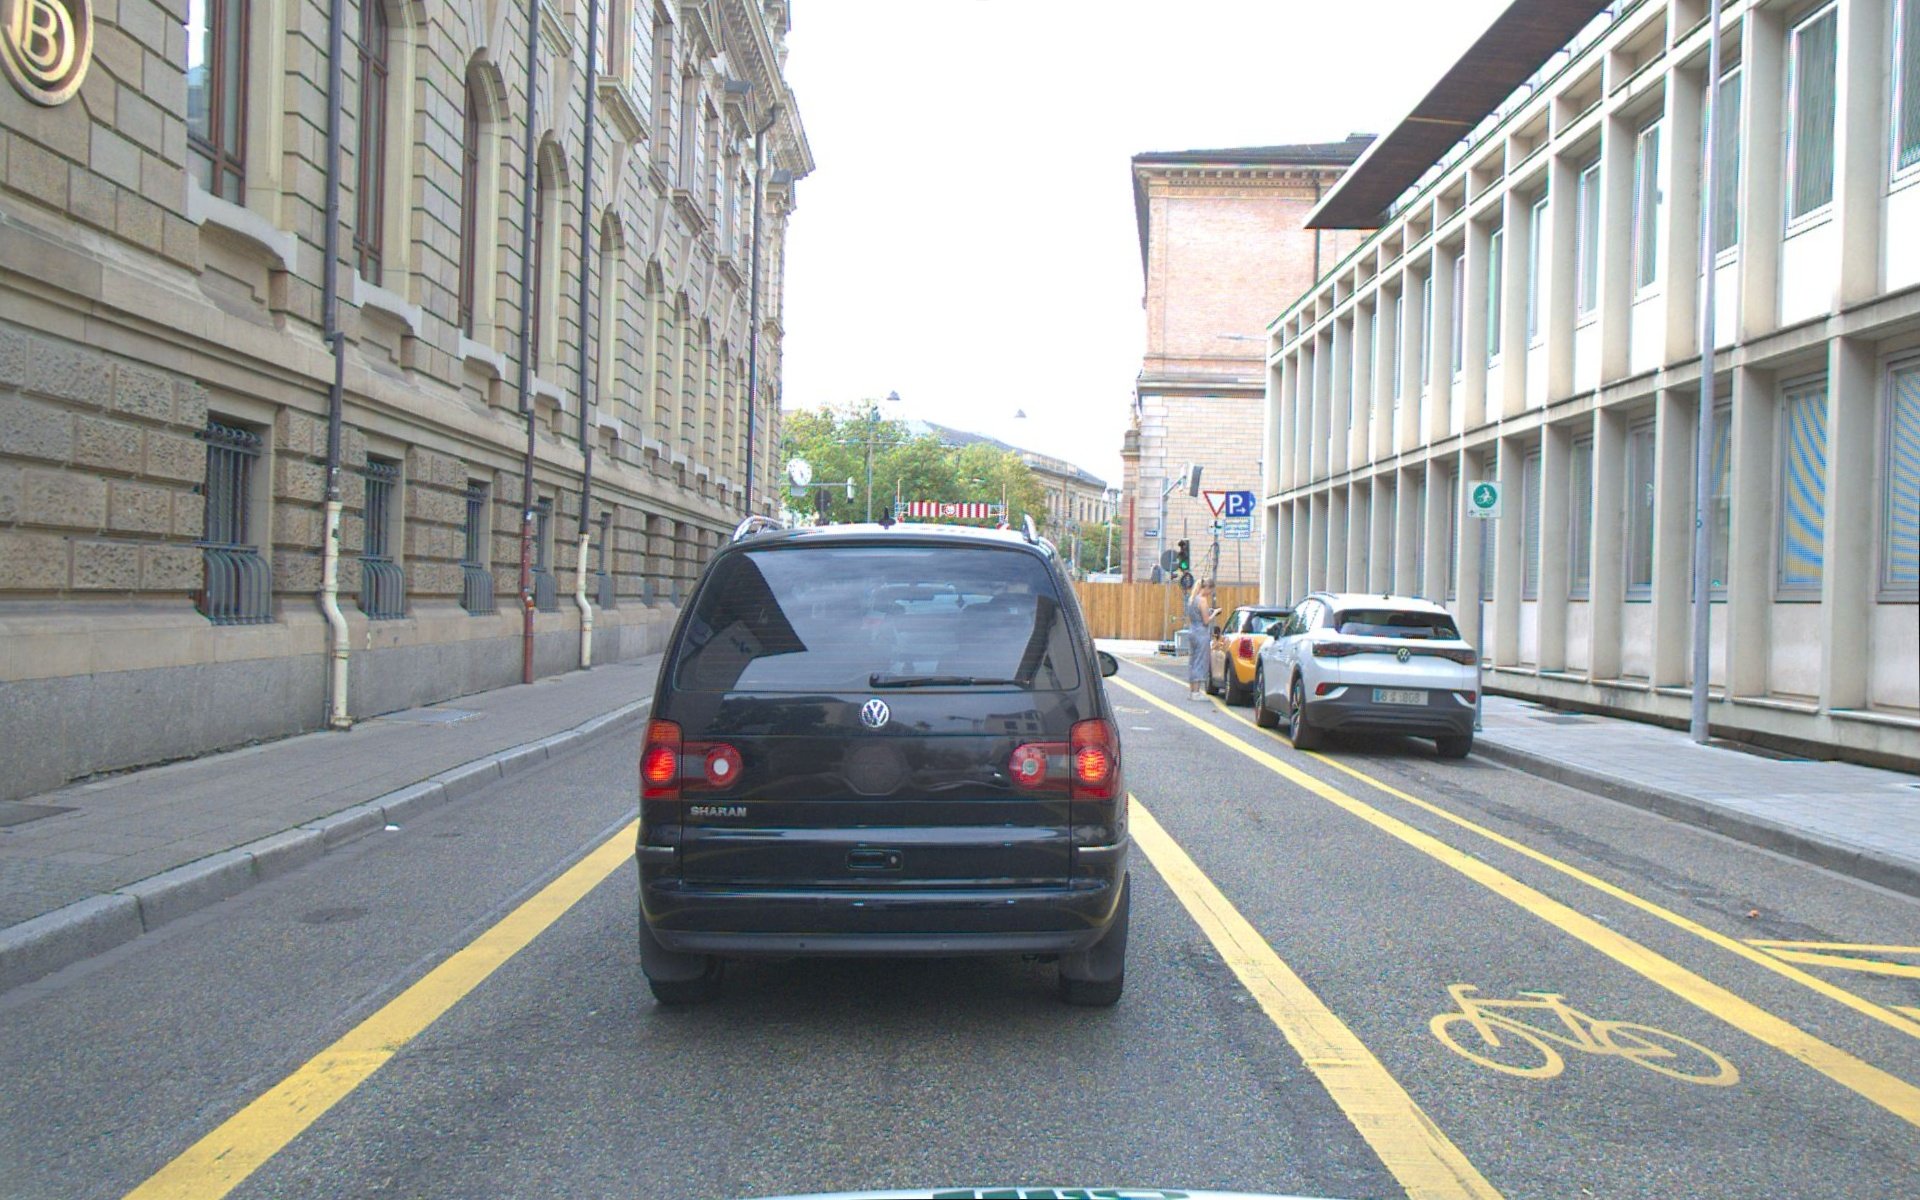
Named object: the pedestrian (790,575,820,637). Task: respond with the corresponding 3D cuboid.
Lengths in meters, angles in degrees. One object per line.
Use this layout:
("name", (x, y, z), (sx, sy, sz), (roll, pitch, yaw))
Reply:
("pedestrian", (-4.771, 0.191, 50.952), (0.776, 1.851, 1.048), (3, -1, -1))

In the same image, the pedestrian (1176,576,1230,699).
("pedestrian", (3.629, 0.554, 24.734), (0.683, 1.794, 0.706), (1, -1, 1))

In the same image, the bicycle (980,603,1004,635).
("bicycle", (1.072, 0.627, 55.646), (0.720, 1.026, 2.068), (1, 0, -1))

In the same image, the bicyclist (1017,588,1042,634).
("bicyclist", (2.156, 0.331, 51.289), (0.720, 1.399, 0.831), (1, 0, -1))

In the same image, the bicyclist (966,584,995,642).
("bicyclist", (0.550, 0.339, 43.756), (0.720, 1.504, 0.884), (1, 0, -1))

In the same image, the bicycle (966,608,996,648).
("bicycle", (0.543, 0.728, 43.796), (0.720, 1.026, 2.068), (1, 0, -1))

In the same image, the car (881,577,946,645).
("car", (-1.365, 0.298, 47.242), (1.700, 1.821, 4.100), (1, 0, -4))

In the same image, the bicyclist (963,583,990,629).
("bicyclist", (0.521, 0.189, 51.725), (0.721, 1.401, 0.827), (1, 0, -7))

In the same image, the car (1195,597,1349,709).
("car", (4.666, 0.751, 25.201), (1.645, 1.459, 3.887), (4, 0, 2))

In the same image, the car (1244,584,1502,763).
("car", (4.459, 0.735, 18.576), (1.822, 1.633, 4.513), (4, 0, 2))

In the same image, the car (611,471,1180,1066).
("car", (-0.130, 0.526, 7.195), (1.752, 1.821, 4.104), (1, 0, 2))

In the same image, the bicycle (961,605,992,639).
("bicycle", (0.509, 0.674, 51.774), (0.721, 1.026, 2.066), (1, 0, -6))

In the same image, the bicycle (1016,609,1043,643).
("bicycle", (2.146, 0.789, 51.302), (0.720, 1.026, 2.068), (1, 0, -1))

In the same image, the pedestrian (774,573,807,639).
("pedestrian", (-4.910, 0.183, 47.900), (0.776, 1.851, 1.048), (3, -1, -1))

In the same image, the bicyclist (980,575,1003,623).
("bicyclist", (1.060, -0.030, 55.591), (0.720, 1.582, 0.895), (1, 0, -1))

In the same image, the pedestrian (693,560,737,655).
("pedestrian", (-4.881, 0.151, 33.032), (0.650, 1.851, 1.048), (3, -1, -1))

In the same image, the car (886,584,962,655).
("car", (-0.866, 0.452, 40.245), (1.737, 1.613, 3.999), (1, 0, -1))

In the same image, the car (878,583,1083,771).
("car", (0.238, 0.640, 15.621), (1.643, 1.495, 4.104), (1, 0, 2))
